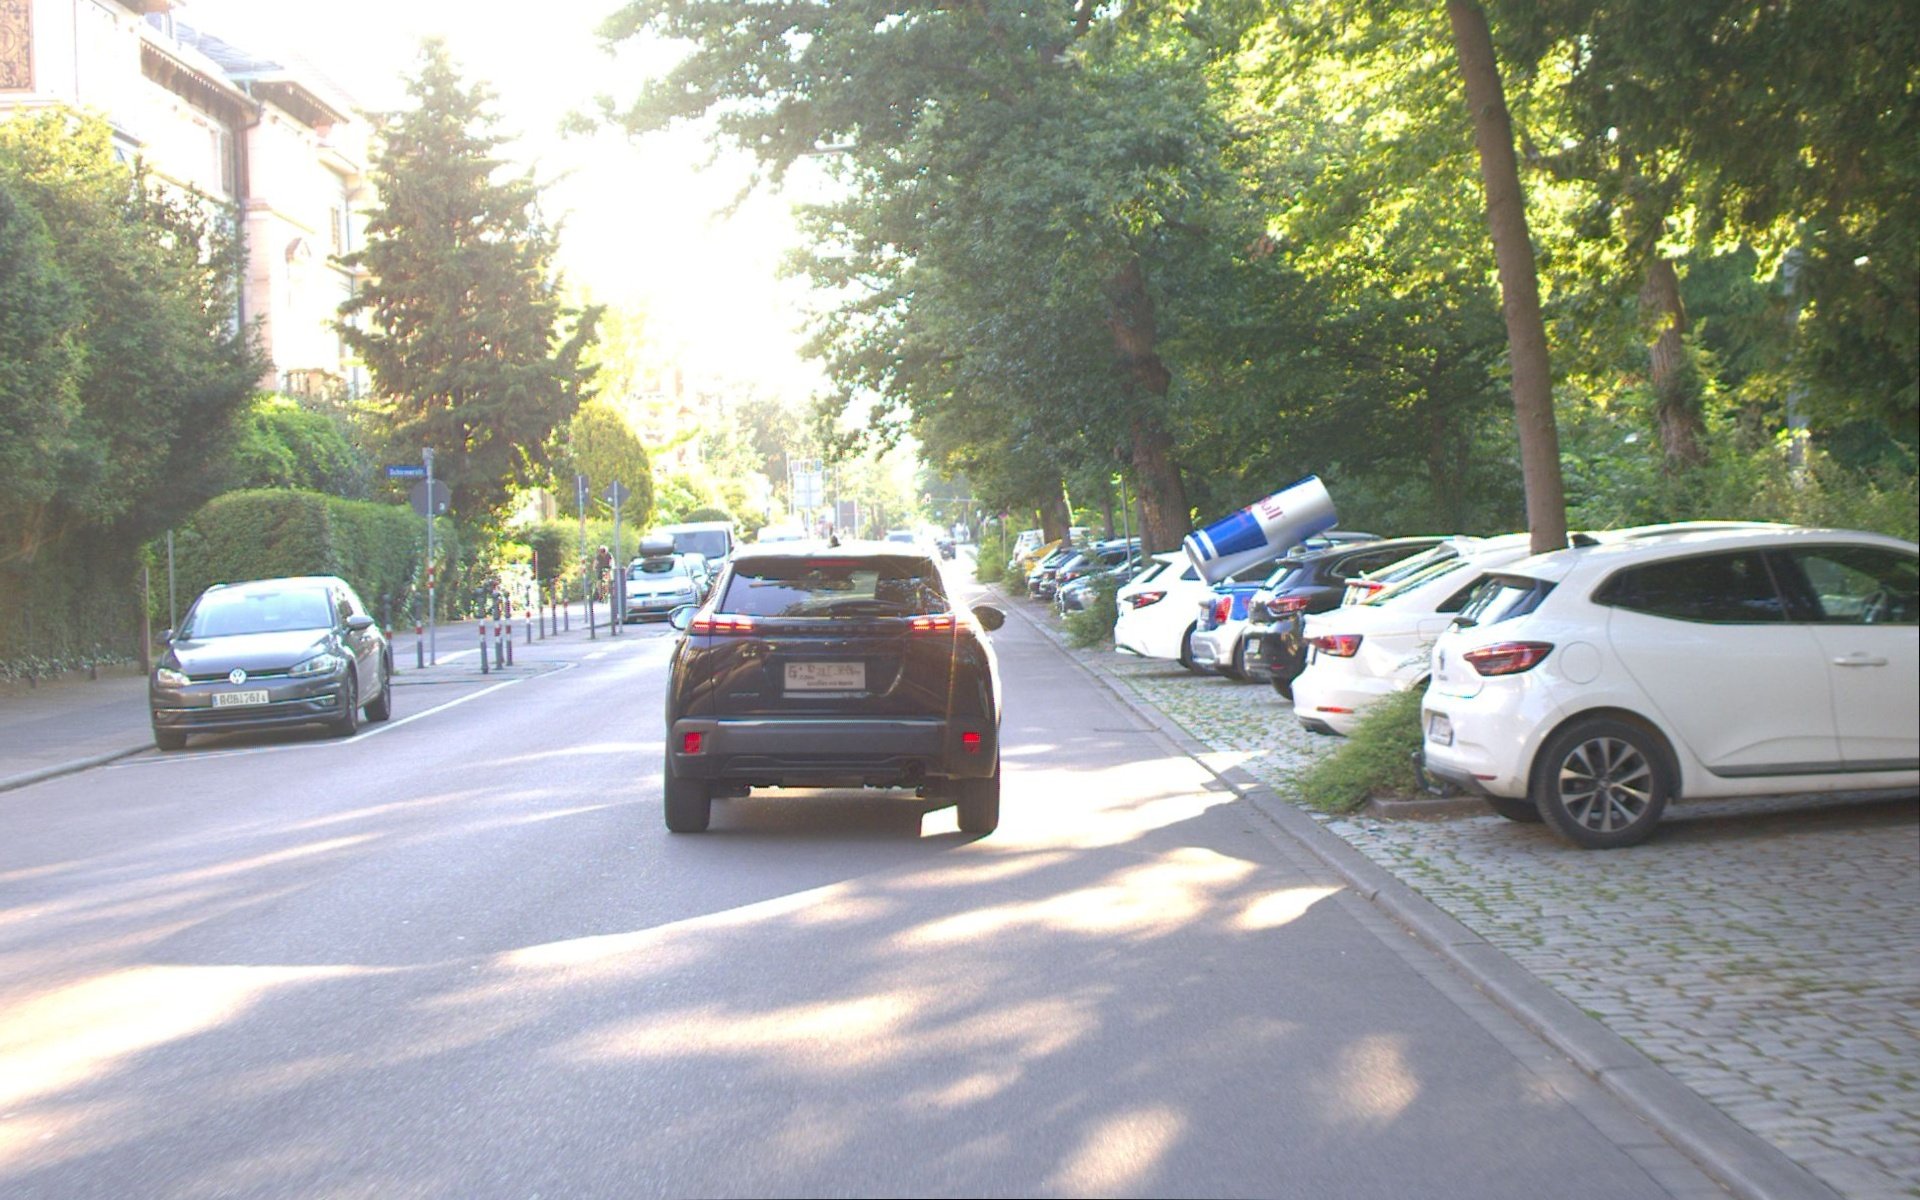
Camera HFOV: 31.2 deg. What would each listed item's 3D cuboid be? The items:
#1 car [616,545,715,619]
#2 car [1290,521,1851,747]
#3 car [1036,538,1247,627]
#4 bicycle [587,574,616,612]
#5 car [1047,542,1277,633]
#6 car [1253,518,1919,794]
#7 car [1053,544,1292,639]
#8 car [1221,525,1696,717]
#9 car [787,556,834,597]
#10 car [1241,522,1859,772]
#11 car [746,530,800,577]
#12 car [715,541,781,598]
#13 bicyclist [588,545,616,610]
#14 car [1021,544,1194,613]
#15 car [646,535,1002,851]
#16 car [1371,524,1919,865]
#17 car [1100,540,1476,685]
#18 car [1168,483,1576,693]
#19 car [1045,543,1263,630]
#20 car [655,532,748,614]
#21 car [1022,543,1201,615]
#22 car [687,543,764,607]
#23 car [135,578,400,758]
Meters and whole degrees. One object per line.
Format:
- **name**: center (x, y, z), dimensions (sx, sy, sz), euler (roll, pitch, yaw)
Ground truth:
- **car**: center (-6.576, -0.414, 77.153), dimensions (1.899, 1.568, 4.000), euler (-1, 1, -1)
- **car**: center (4.746, 0.241, 27.031), dimensions (3.986, 1.619, 1.758), euler (-1, 1, -5)
- **car**: center (3.492, -0.345, 66.650), dimensions (3.987, 1.618, 1.758), euler (-1, 1, 1)
- **bicycle**: center (-10.034, -0.207, 96.180), dimensions (0.691, 1.012, 2.049), euler (-1, 1, -4)
- **car**: center (3.586, -0.228, 61.545), dimensions (3.987, 1.520, 1.758), euler (-1, 1, 1)
- **car**: center (4.036, 0.328, 22.207), dimensions (3.986, 1.619, 1.758), euler (-1, 1, -5)
- **car**: center (3.618, -0.150, 59.014), dimensions (3.987, 1.520, 1.758), euler (-1, 1, 1)
- **car**: center (4.530, 0.169, 31.590), dimensions (3.986, 1.619, 1.758), euler (-1, 1, -5)
- **car**: center (-6.830, -1.087, 157.049), dimensions (1.993, 1.809, 4.000), euler (-1, 1, -1)
- **car**: center (4.142, 0.305, 24.479), dimensions (3.986, 1.619, 1.758), euler (-1, 1, -5)
- **car**: center (-7.522, -1.874, 138.563), dimensions (1.993, 1.809, 4.000), euler (-1, 1, -1)
- **car**: center (-7.088, -1.034, 115.496), dimensions (1.993, 1.809, 4.000), euler (-1, 1, -1)
- **bicyclist**: center (-10.025, -0.628, 96.273), dimensions (0.693, 1.786, 0.773), euler (-1, 1, -3)
- **car**: center (3.434, -0.516, 80.666), dimensions (3.987, 1.520, 1.758), euler (-1, 1, 1)
- **car**: center (-0.806, 0.435, 19.391), dimensions (1.771, 1.563, 4.109), euler (1, 1, -3)
- **car**: center (4.117, 0.390, 16.935), dimensions (3.807, 1.444, 1.826), euler (-3, 1, -4)
- **car**: center (3.712, 0.126, 39.271), dimensions (3.986, 1.520, 1.758), euler (-1, 1, -5)
- **car**: center (4.345, -0.143, 36.589), dimensions (3.986, 2.082, 1.758), euler (-1, 1, -5)
- **car**: center (3.608, -0.262, 64.412), dimensions (3.987, 1.520, 1.758), euler (-1, 1, 1)
- **car**: center (-6.584, -0.697, 87.845), dimensions (1.993, 2.007, 4.000), euler (-1, 1, 1)
- **car**: center (3.414, -0.480, 78.232), dimensions (3.987, 1.520, 1.758), euler (-1, 1, 1)
- **car**: center (-6.785, -0.740, 99.718), dimensions (1.993, 1.762, 4.000), euler (-1, 1, -1)
- **car**: center (-6.357, 0.583, 31.921), dimensions (1.752, 1.409, 3.765), euler (-4, 1, -2)
